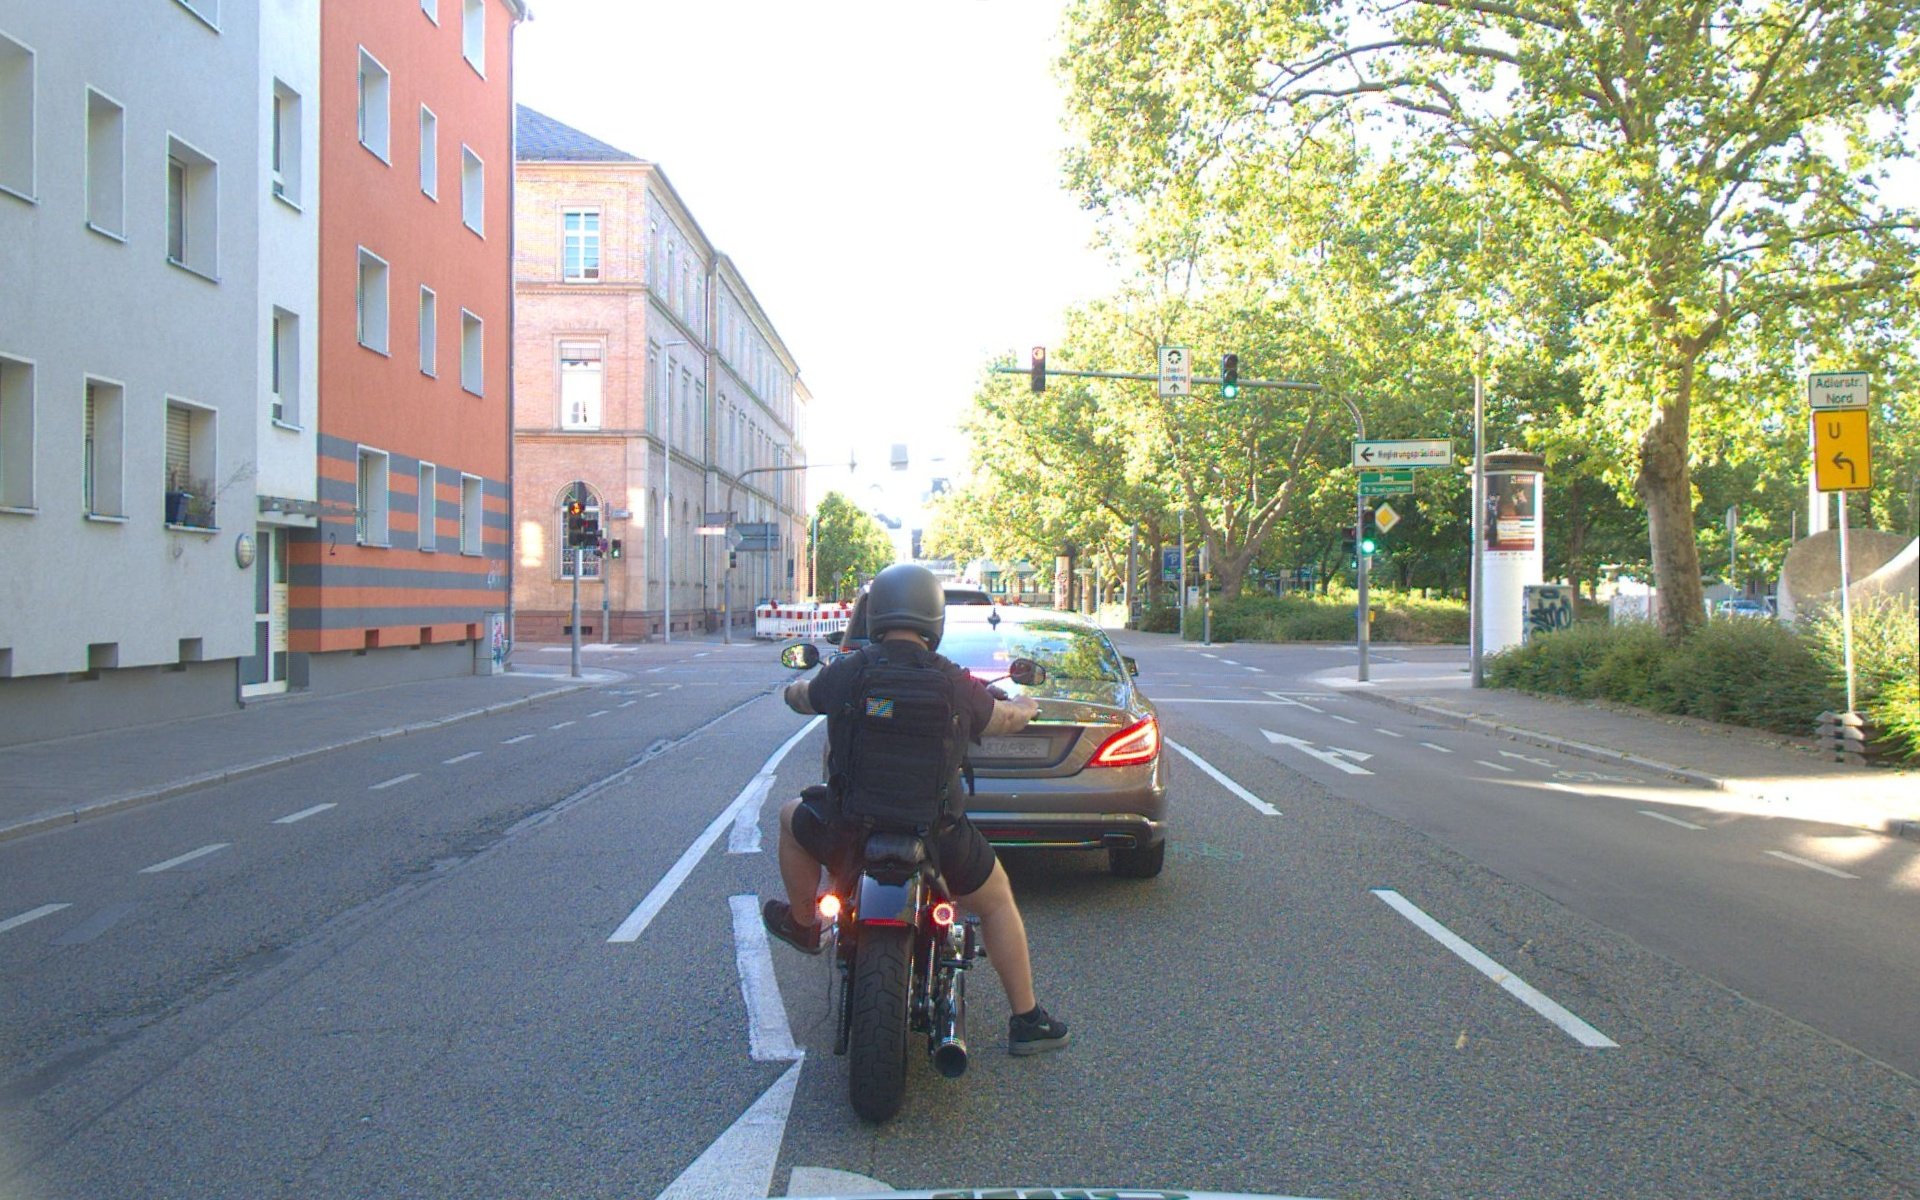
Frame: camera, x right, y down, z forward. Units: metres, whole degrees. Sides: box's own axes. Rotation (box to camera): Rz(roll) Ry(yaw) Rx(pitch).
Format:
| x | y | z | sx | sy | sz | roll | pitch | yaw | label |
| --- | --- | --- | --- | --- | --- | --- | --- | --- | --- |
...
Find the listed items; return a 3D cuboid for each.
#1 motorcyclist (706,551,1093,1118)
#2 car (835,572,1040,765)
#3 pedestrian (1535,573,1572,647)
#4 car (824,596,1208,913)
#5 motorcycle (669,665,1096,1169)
| x | y | z | sx | sy | sz | roll | pitch | yaw | label |
| --- | --- | --- | --- | --- | --- | --- | --- | --- | --- |
| -0.134 | 0.667 | 5.278 | 1.076 | 1.593 | 1.072 | 1 | 0 | 5 | motorcyclist |
| -0.233 | 0.628 | 16.943 | 1.825 | 1.707 | 3.999 | 1 | 0 | -1 | car |
| 14.655 | 0.240 | 40.868 | 0.720 | 1.809 | 0.730 | 1 | -1 | 10 | pedestrian |
| 0.240 | 0.736 | 9.671 | 1.785 | 1.462 | 3.805 | 1 | 0 | -1 | car |
| -0.122 | 0.878 | 5.498 | 1.094 | 1.228 | 2.213 | 1 | 0 | 5 | motorcycle |
